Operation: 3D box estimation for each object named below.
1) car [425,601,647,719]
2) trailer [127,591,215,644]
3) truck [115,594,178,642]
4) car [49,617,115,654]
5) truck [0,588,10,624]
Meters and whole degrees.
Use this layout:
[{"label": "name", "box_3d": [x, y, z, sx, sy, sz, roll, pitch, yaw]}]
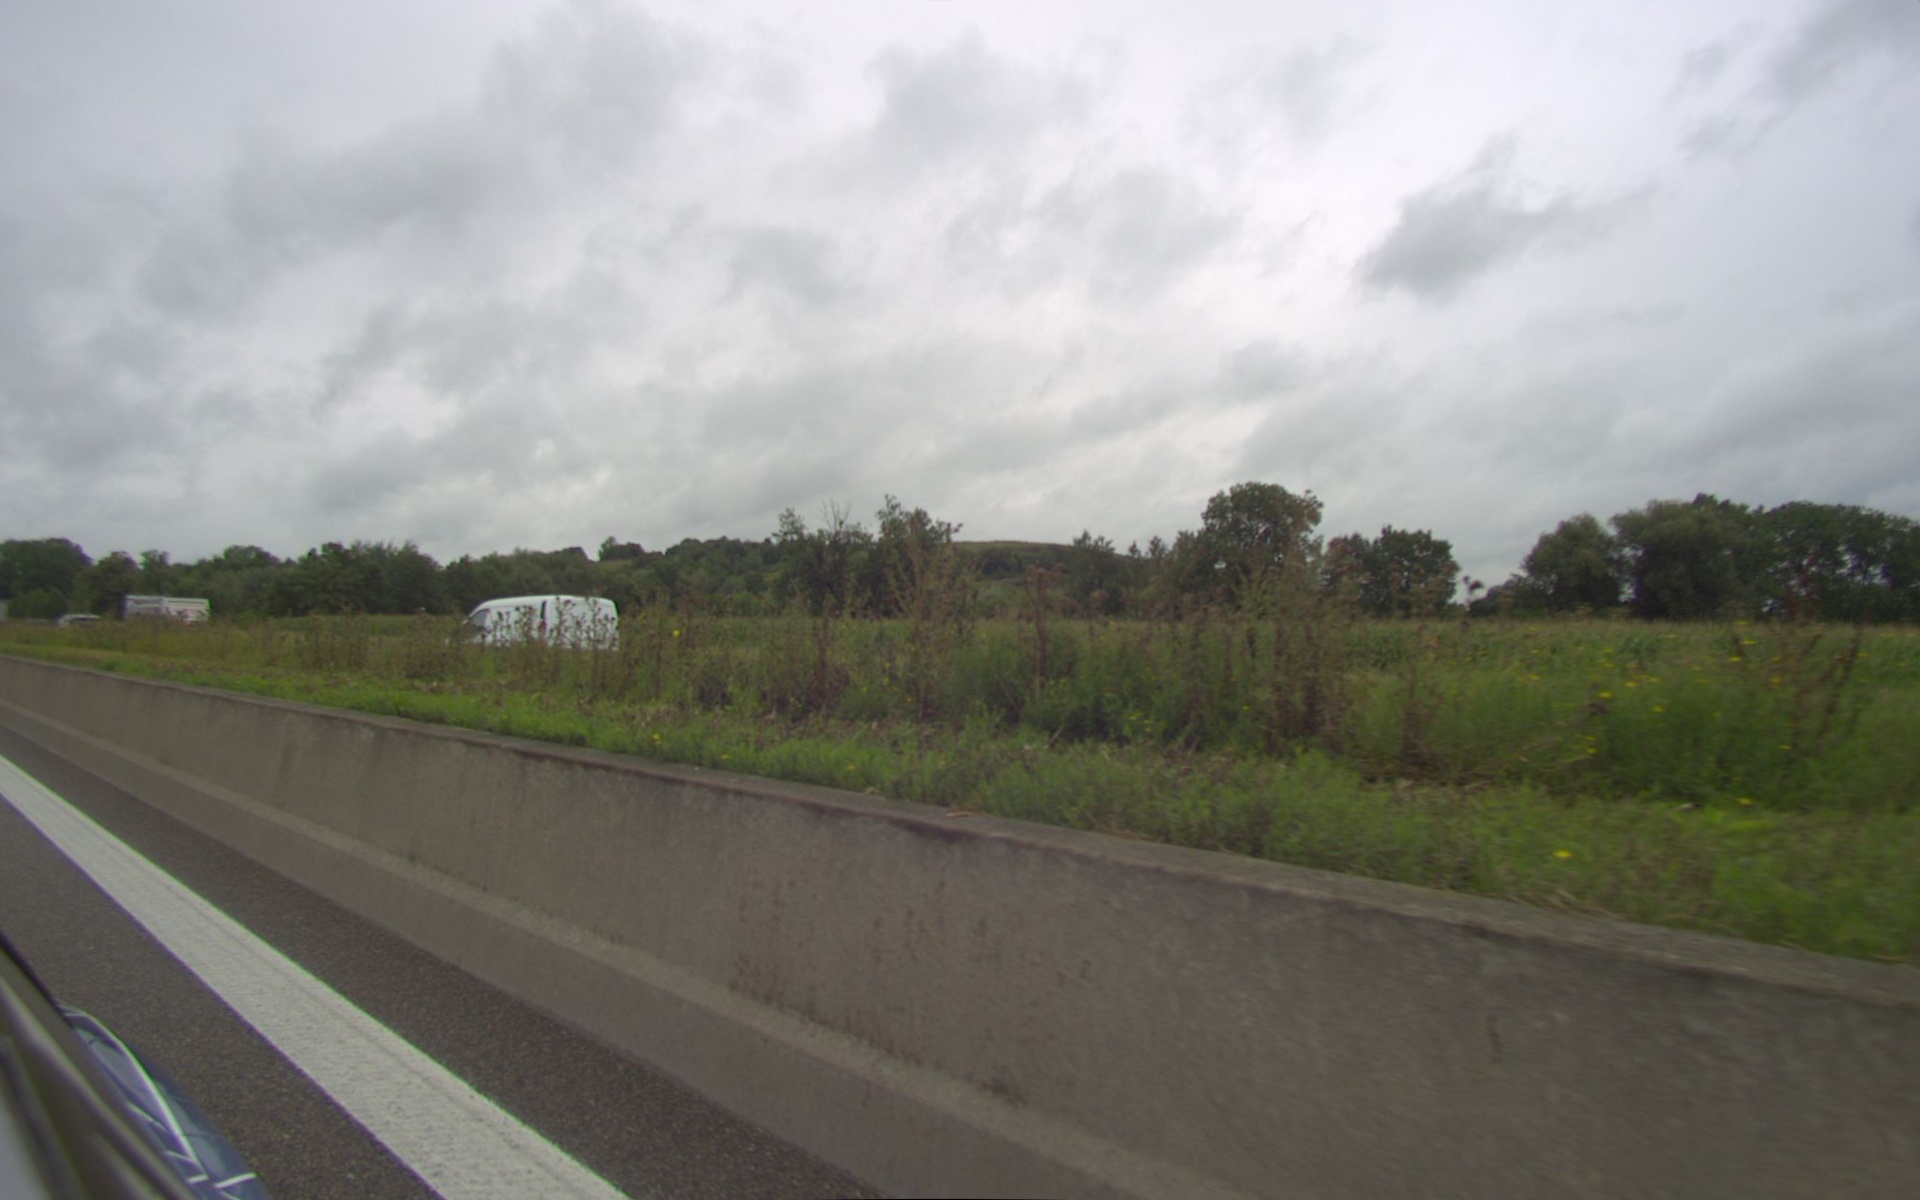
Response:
[{"label": "car", "box_3d": [-8.377, 1.071, 19.752, 5.066, 2.029, 1.973, -1, -1, 41]}, {"label": "trailer", "box_3d": [-53.843, 1.150, 68.949, 9.920, 3.353, 2.759, -1, 0, 40]}, {"label": "truck", "box_3d": [-58.793, 1.284, 73.100, 4.518, 3.369, 2.728, -1, 0, 40]}, {"label": "car", "box_3d": [-42.175, 1.689, 48.571, 3.998, 1.696, 1.863, -1, -1, 41]}, {"label": "truck", "box_3d": [-124.143, 0.785, 128.464, 16.889, 4.375, 3.291, -1, 0, 40]}]
